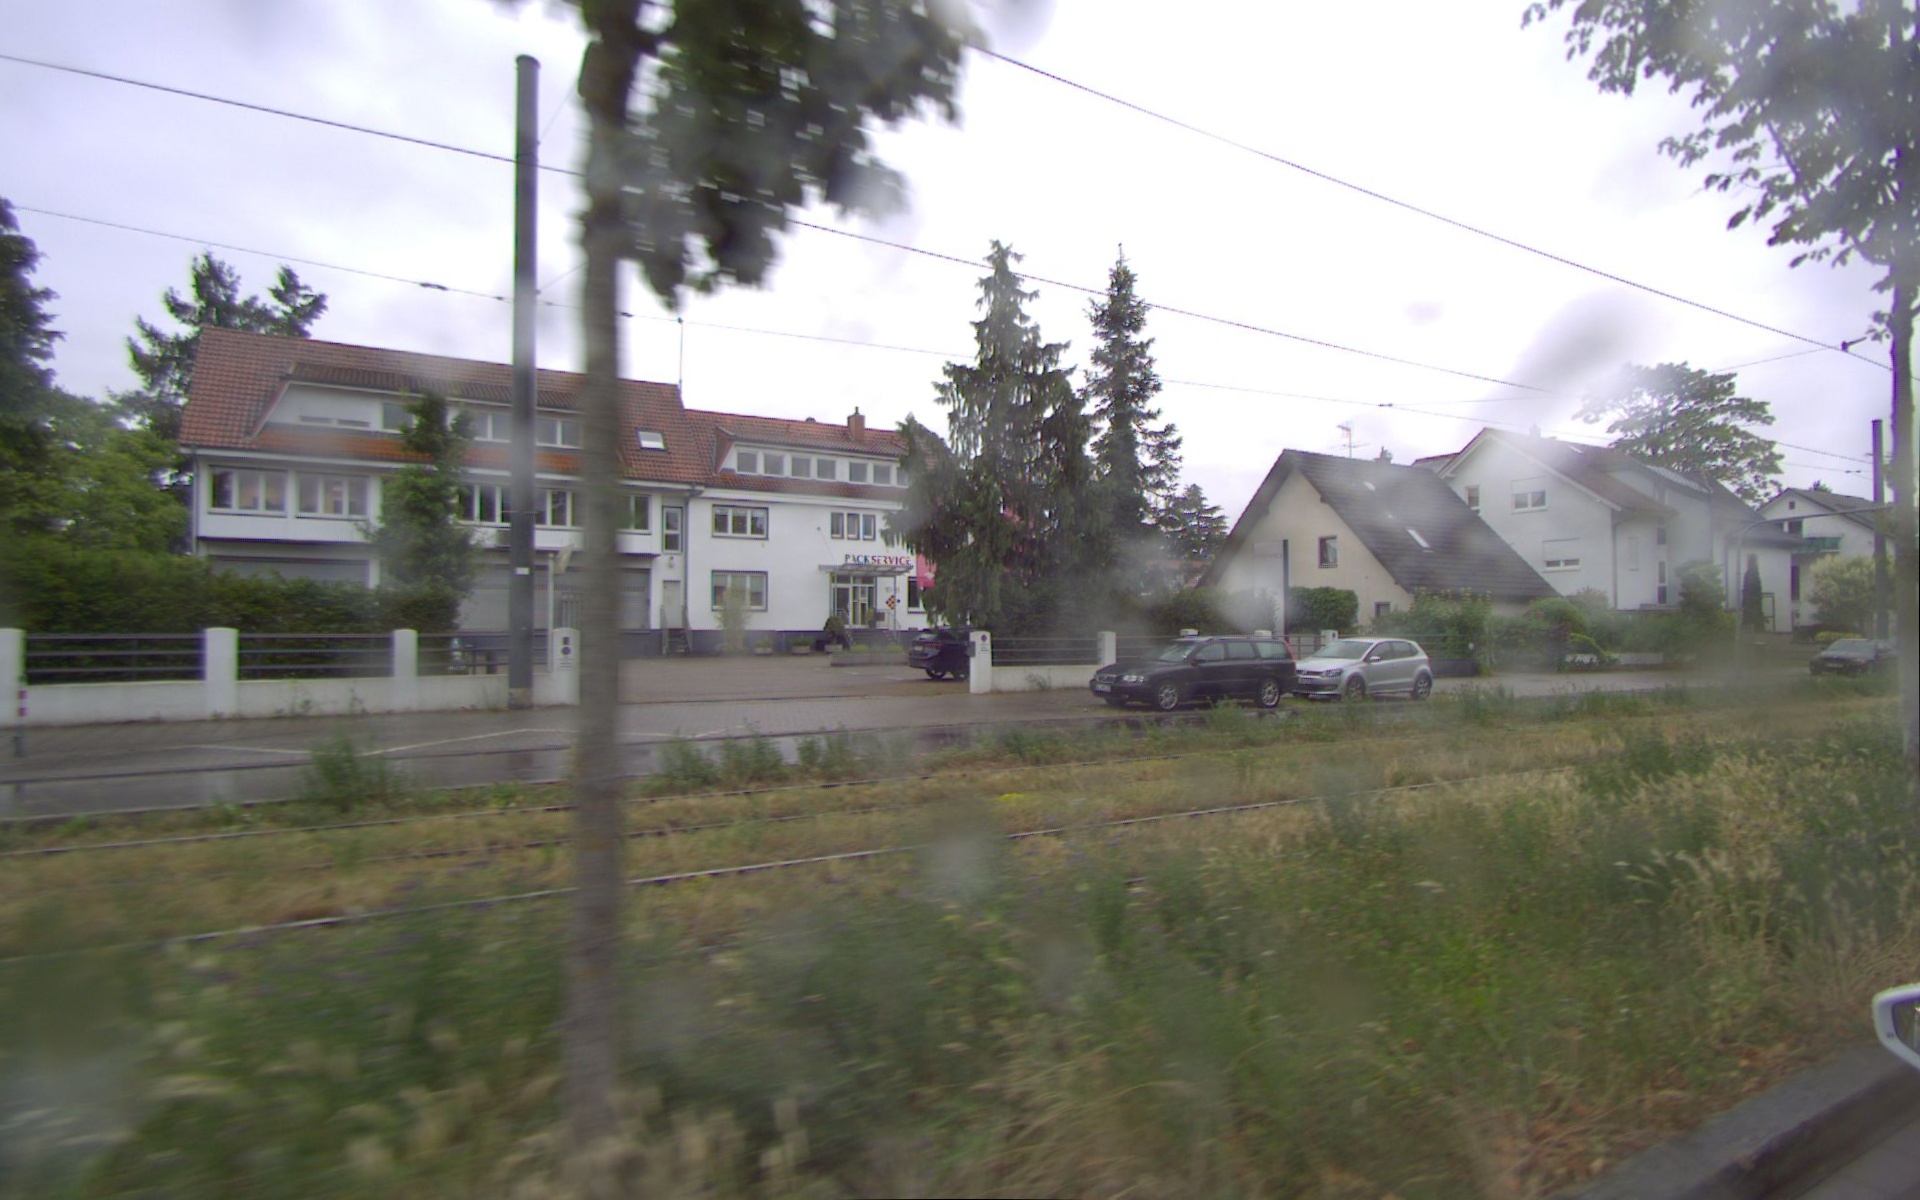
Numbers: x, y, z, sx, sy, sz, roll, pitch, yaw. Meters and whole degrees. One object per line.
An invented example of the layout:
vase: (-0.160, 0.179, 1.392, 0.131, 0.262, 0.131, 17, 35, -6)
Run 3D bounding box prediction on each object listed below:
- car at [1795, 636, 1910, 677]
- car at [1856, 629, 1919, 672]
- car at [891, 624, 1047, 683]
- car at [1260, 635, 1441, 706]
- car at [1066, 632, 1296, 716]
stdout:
car: (33.927, 2.093, 38.161, 4.188, 1.369, 1.985, 1, 0, -29)
car: (38.037, 2.012, 40.440, 3.824, 1.571, 1.865, 1, 0, -30)
car: (0.255, 1.431, 27.933, 3.872, 1.475, 1.984, 1, 0, -31)
car: (9.213, 1.591, 23.676, 3.925, 1.430, 1.984, 1, 0, -31)
car: (4.593, 1.443, 20.765, 4.475, 1.475, 1.985, 1, 0, -29)
